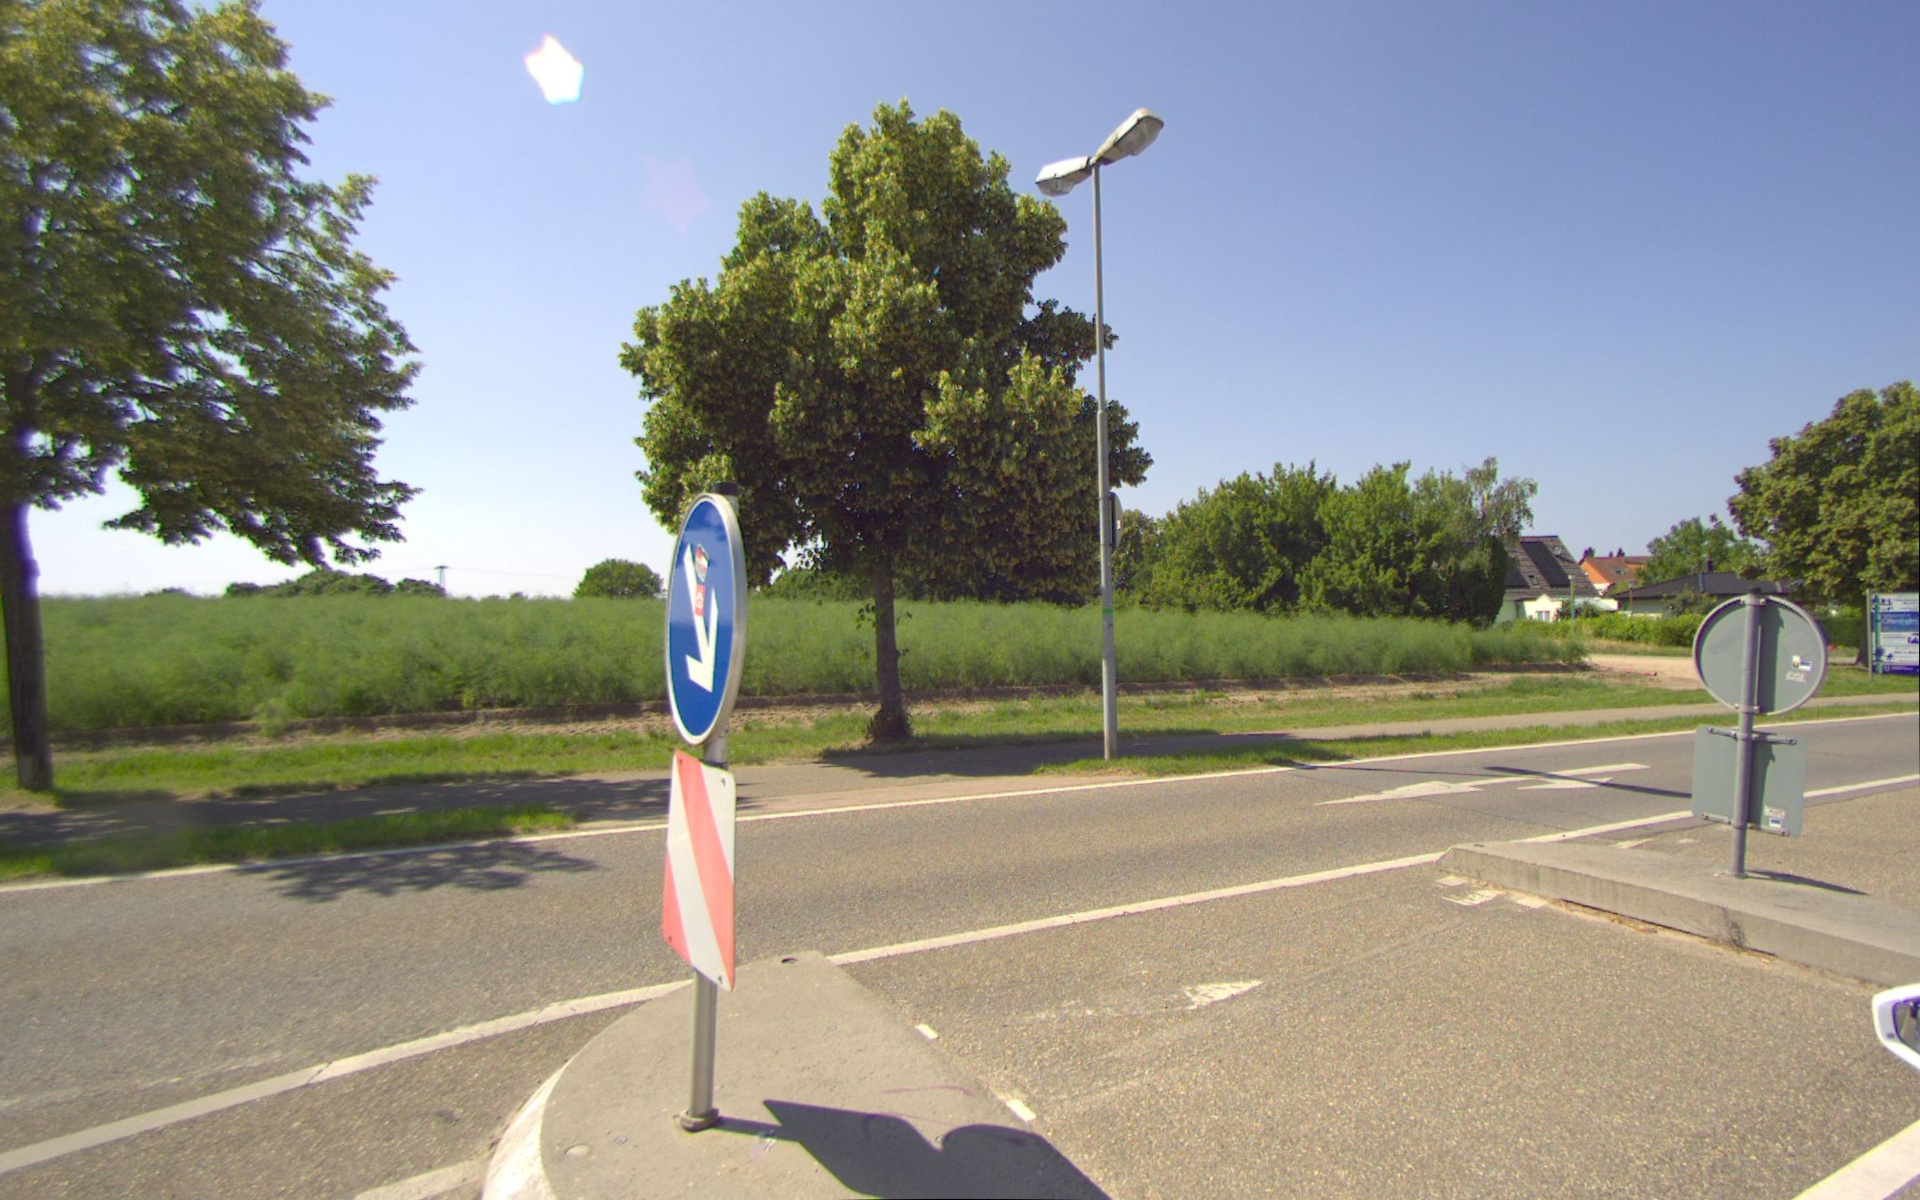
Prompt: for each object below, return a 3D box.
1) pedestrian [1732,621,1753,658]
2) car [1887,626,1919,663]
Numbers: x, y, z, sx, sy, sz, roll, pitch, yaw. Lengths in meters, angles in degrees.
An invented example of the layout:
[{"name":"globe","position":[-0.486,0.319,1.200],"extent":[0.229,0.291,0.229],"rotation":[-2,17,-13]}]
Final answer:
[{"name":"pedestrian","position":[37.034,1.875,47.531],"extent":[0.663,1.739,0.550],"rotation":[0,0,25]},{"name":"car","position":[41.374,1.834,41.492],"extent":[1.967,1.539,4.088],"rotation":[0,-2,-15]}]
